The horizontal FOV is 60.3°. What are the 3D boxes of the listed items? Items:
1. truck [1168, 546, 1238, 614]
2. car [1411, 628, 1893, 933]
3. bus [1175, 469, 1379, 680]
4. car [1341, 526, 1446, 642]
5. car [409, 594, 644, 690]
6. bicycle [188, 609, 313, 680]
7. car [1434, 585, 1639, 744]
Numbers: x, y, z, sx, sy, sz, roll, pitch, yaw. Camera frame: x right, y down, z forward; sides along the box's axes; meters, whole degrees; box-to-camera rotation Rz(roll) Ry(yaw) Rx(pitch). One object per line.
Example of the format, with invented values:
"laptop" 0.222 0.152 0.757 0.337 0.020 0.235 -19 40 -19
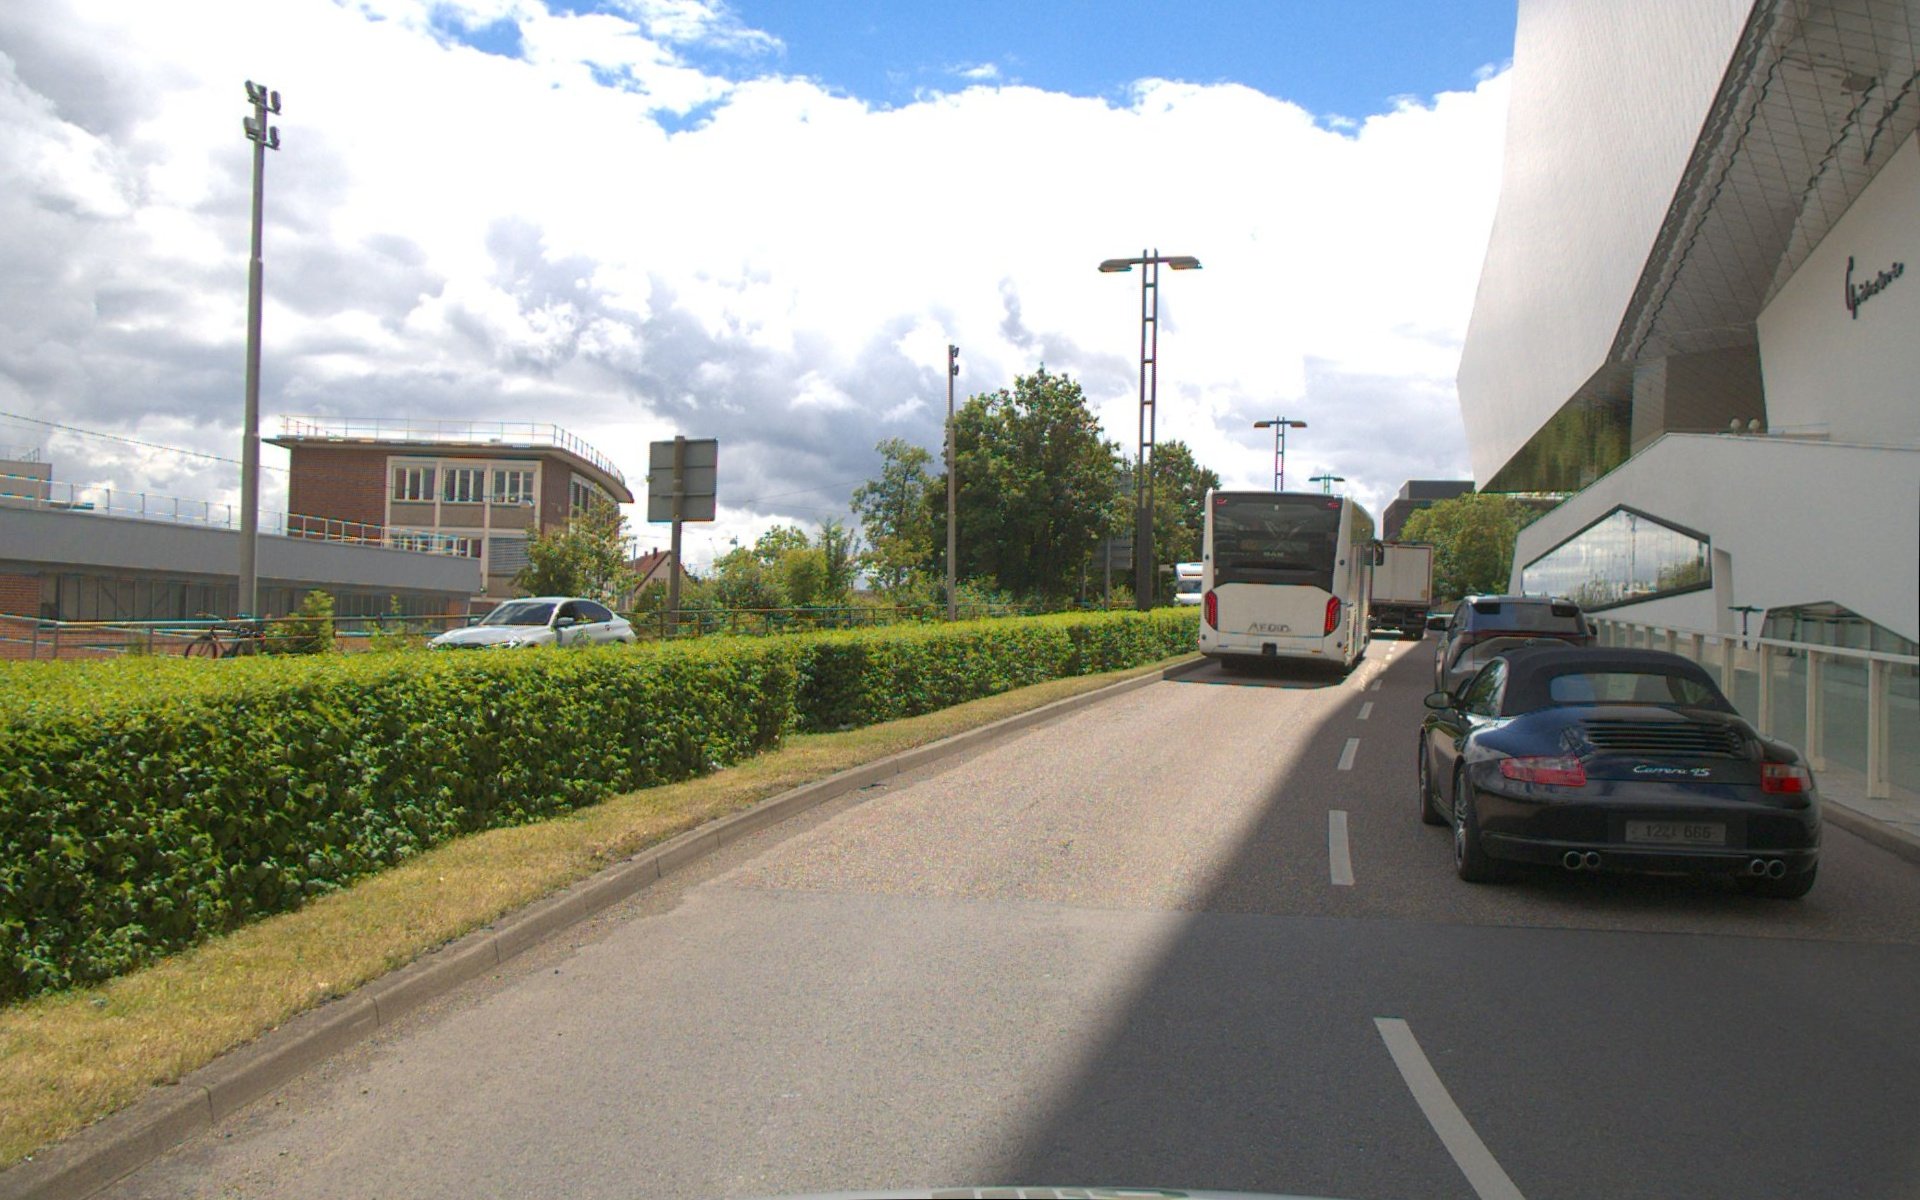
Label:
"truck" 13.099 -0.973 88.507 2.149 3.013 8.954 2 -2 18
"car" 3.918 0.905 10.100 1.795 1.348 4.003 1 0 9
"bus" 6.797 -0.478 33.672 3.007 3.420 12.232 3 1 15
"car" 15.713 -0.440 60.004 3.265 3.565 9.346 3 -2 15
"car" -7.342 0.649 28.551 1.718 1.422 4.677 3 1 16
"bicycle" -11.607 0.703 27.141 0.443 1.090 2.297 2 1 19
"car" 6.999 0.697 20.478 1.951 1.665 4.003 3 1 14
